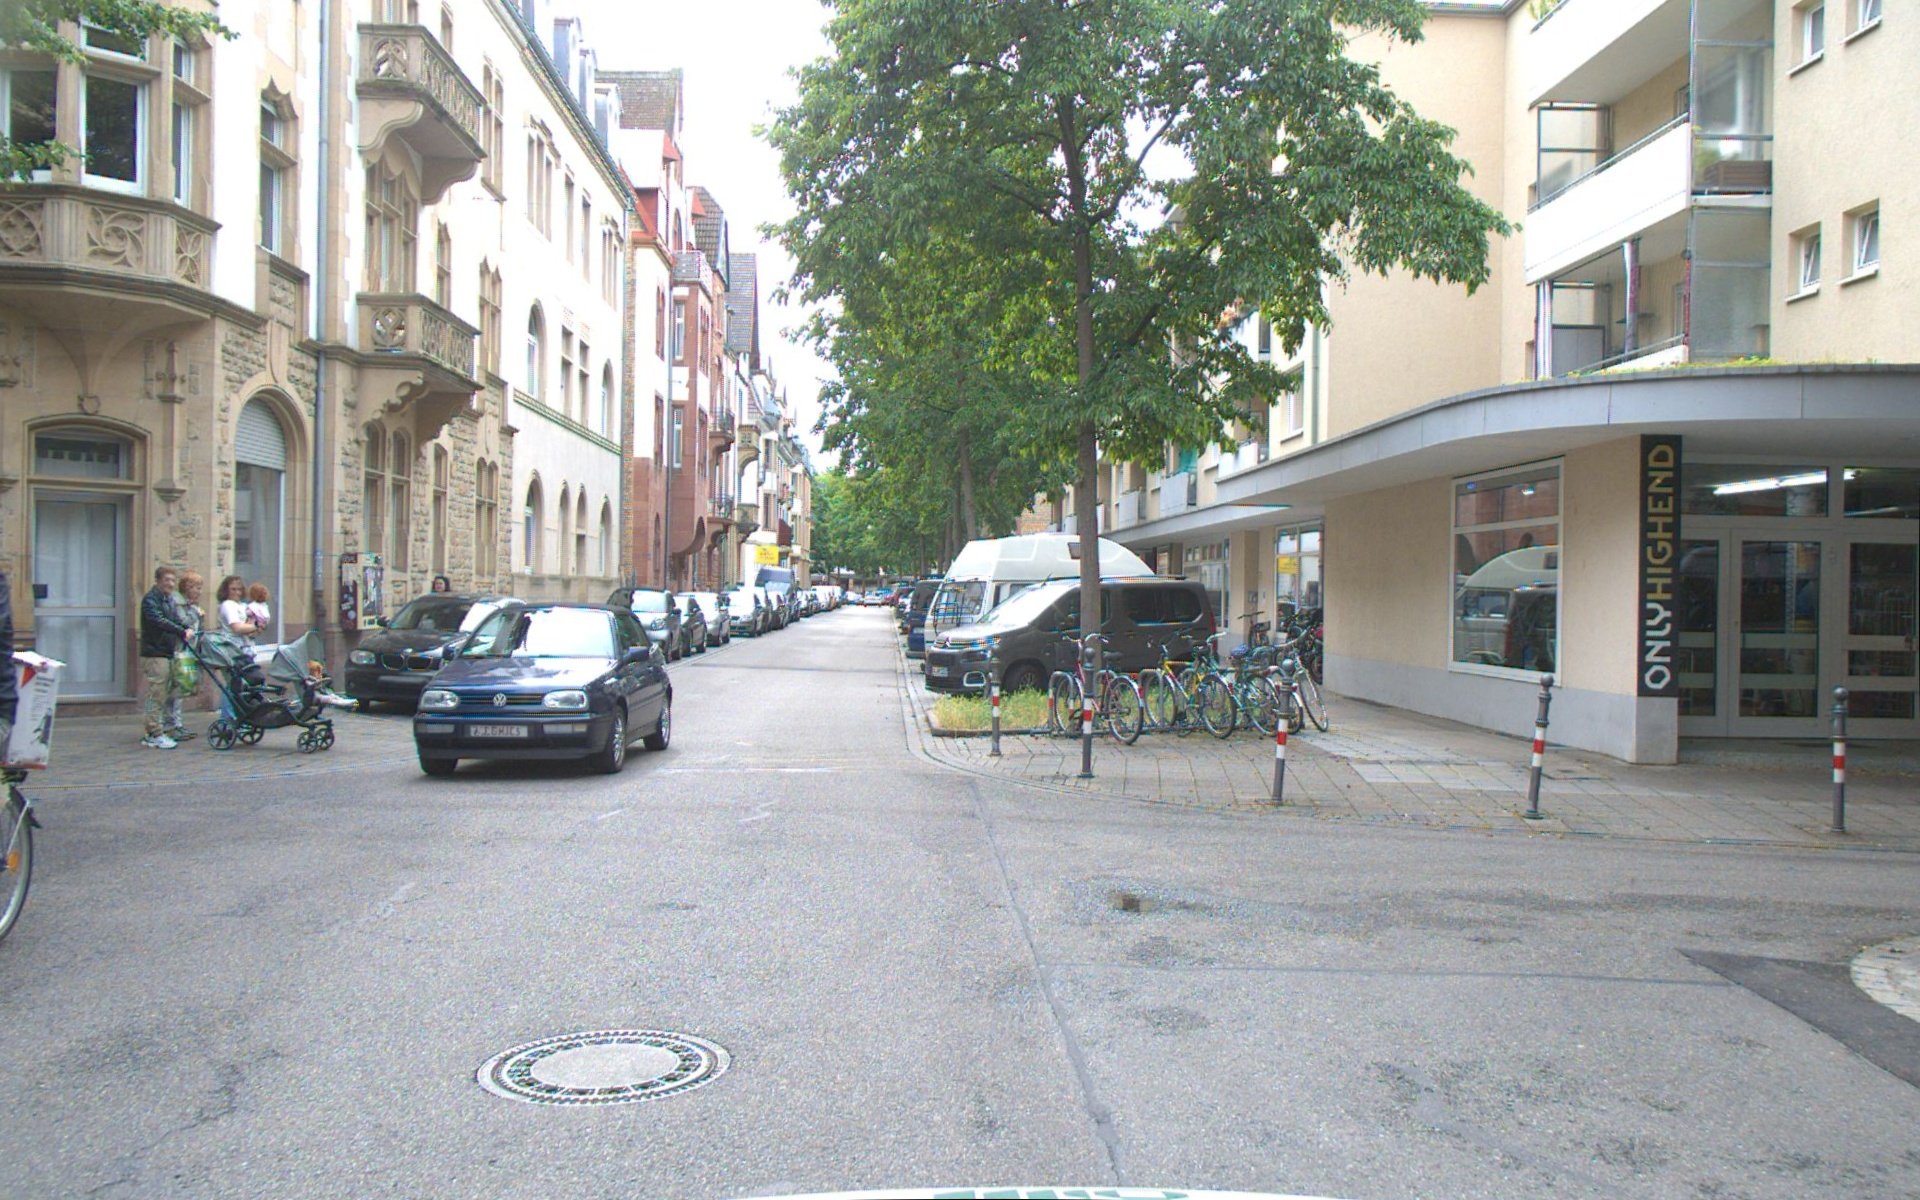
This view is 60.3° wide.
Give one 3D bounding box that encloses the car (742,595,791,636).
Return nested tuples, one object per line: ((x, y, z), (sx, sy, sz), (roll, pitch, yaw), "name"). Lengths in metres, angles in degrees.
((-7.779, 0.601, 66.781), (1.602, 1.498, 3.998), (2, 0, -2), "car")

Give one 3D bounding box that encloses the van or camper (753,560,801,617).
((-8.976, -0.591, 81.653), (1.968, 2.697, 5.314), (1, 1, -2), "van or camper")

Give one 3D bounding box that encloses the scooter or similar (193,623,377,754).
((-6.434, 0.828, 15.792), (1.438, 1.123, 0.676), (3, 0, 9), "scooter or similar")

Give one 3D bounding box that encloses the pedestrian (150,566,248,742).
((-7.445, 0.512, 16.195), (0.603, 1.672, 0.604), (1, 0, 9), "pedestrian")

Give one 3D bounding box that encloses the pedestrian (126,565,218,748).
((-7.416, 0.520, 15.574), (0.516, 1.672, 0.529), (2, 0, 9), "pedestrian")

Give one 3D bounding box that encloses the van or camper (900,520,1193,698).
((1.440, 0.131, 26.599), (4.544, 2.641, 1.887), (1, 0, -36), "van or camper")

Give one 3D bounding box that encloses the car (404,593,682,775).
((-3.614, 0.689, 14.999), (1.674, 1.438, 3.850), (0, -1, -2), "car")

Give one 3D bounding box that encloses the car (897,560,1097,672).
((0.857, 0.317, 35.433), (2.029, 2.235, 4.376), (1, 0, 39), "car")

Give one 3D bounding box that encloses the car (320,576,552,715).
((-6.480, 0.552, 20.919), (1.675, 1.521, 3.999), (2, -1, -1), "car")

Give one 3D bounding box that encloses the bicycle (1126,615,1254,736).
((2.444, 0.776, 17.758), (0.541, 1.194, 1.715), (1, 1, -24), "bicycle")

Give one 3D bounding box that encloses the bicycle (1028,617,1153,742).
((1.336, 0.792, 17.231), (0.541, 1.194, 1.715), (1, 1, -24), "bicycle")

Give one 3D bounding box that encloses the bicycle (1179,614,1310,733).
((3.082, 0.774, 18.066), (0.541, 1.194, 1.715), (1, 1, -24), "bicycle")

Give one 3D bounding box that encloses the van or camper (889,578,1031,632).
((0.011, 0.166, 61.793), (4.954, 1.902, 2.105), (-1, 0, -31), "van or camper")

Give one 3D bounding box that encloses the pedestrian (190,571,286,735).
((-7.405, 0.528, 16.977), (0.619, 1.621, 0.667), (2, 0, 38), "pedestrian")

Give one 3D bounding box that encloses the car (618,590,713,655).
((-7.037, 0.546, 39.865), (1.691, 1.411, 3.927), (2, -1, -2), "car")

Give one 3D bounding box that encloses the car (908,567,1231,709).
((1.582, 0.508, 23.713), (4.282, 1.886, 1.894), (1, 0, -28), "car")

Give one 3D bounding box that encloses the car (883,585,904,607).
((-6.636, -0.374, 165.081), (1.954, 2.048, 3.998), (4, 0, -3), "car")

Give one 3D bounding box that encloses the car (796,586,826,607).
((-10.877, -0.287, 120.842), (1.954, 1.501, 3.998), (1, 0, -3), "car")

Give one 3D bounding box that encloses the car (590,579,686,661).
((-6.928, 0.395, 35.837), (1.614, 1.598, 2.955), (2, 1, -4), "car")

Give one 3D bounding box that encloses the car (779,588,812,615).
((-9.723, 0.053, 97.941), (1.754, 1.506, 4.020), (2, 0, -3), "car")

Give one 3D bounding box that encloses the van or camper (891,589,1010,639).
((-0.386, 0.586, 70.408), (4.676, 2.029, 1.981), (-1, -2, -28), "van or camper")

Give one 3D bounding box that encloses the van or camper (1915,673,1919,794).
((10.514, 0.400, 12.118), (5.649, 2.537, 2.138), (1, 3, 4), "van or camper")

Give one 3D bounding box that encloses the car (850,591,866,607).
((-11.577, -0.138, 187.832), (1.785, 1.673, 3.751), (2, -1, -3), "car")

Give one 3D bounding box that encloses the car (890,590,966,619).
((-1.834, 0.285, 94.812), (3.974, 1.586, 1.863), (1, 0, -34), "car")

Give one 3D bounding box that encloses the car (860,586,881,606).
((-8.752, -0.359, 161.920), (1.953, 1.825, 3.998), (2, -1, -2), "car")

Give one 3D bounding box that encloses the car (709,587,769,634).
((-7.370, 0.328, 55.459), (1.629, 1.445, 3.927), (2, 0, -3), "car")

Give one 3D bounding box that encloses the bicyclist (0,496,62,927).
((-3.806, 0.404, 6.083), (0.634, 1.565, 0.677), (0, 0, 0), "bicyclist")

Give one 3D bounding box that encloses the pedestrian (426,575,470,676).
((-7.904, 0.385, 25.557), (0.505, 1.545, 0.546), (1, 0, -3), "pedestrian")

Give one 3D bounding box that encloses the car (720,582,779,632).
((-7.712, 0.223, 60.803), (1.750, 1.675, 4.359), (2, 0, -3), "car")

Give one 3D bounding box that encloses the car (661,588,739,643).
((-7.294, 0.396, 46.742), (1.692, 1.410, 4.135), (2, 0, -3), "car")

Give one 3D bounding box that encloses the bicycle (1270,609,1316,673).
((6.095, 0.733, 30.314), (0.475, 1.109, 1.700), (1, 0, 0), "bicycle")

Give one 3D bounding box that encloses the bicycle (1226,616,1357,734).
((3.648, 0.801, 18.323), (0.541, 1.194, 1.685), (1, 1, -24), "bicycle")

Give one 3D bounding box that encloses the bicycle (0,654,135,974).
((-3.800, 0.801, 6.094), (0.621, 1.113, 1.799), (1, 1, -1), "bicycle")
